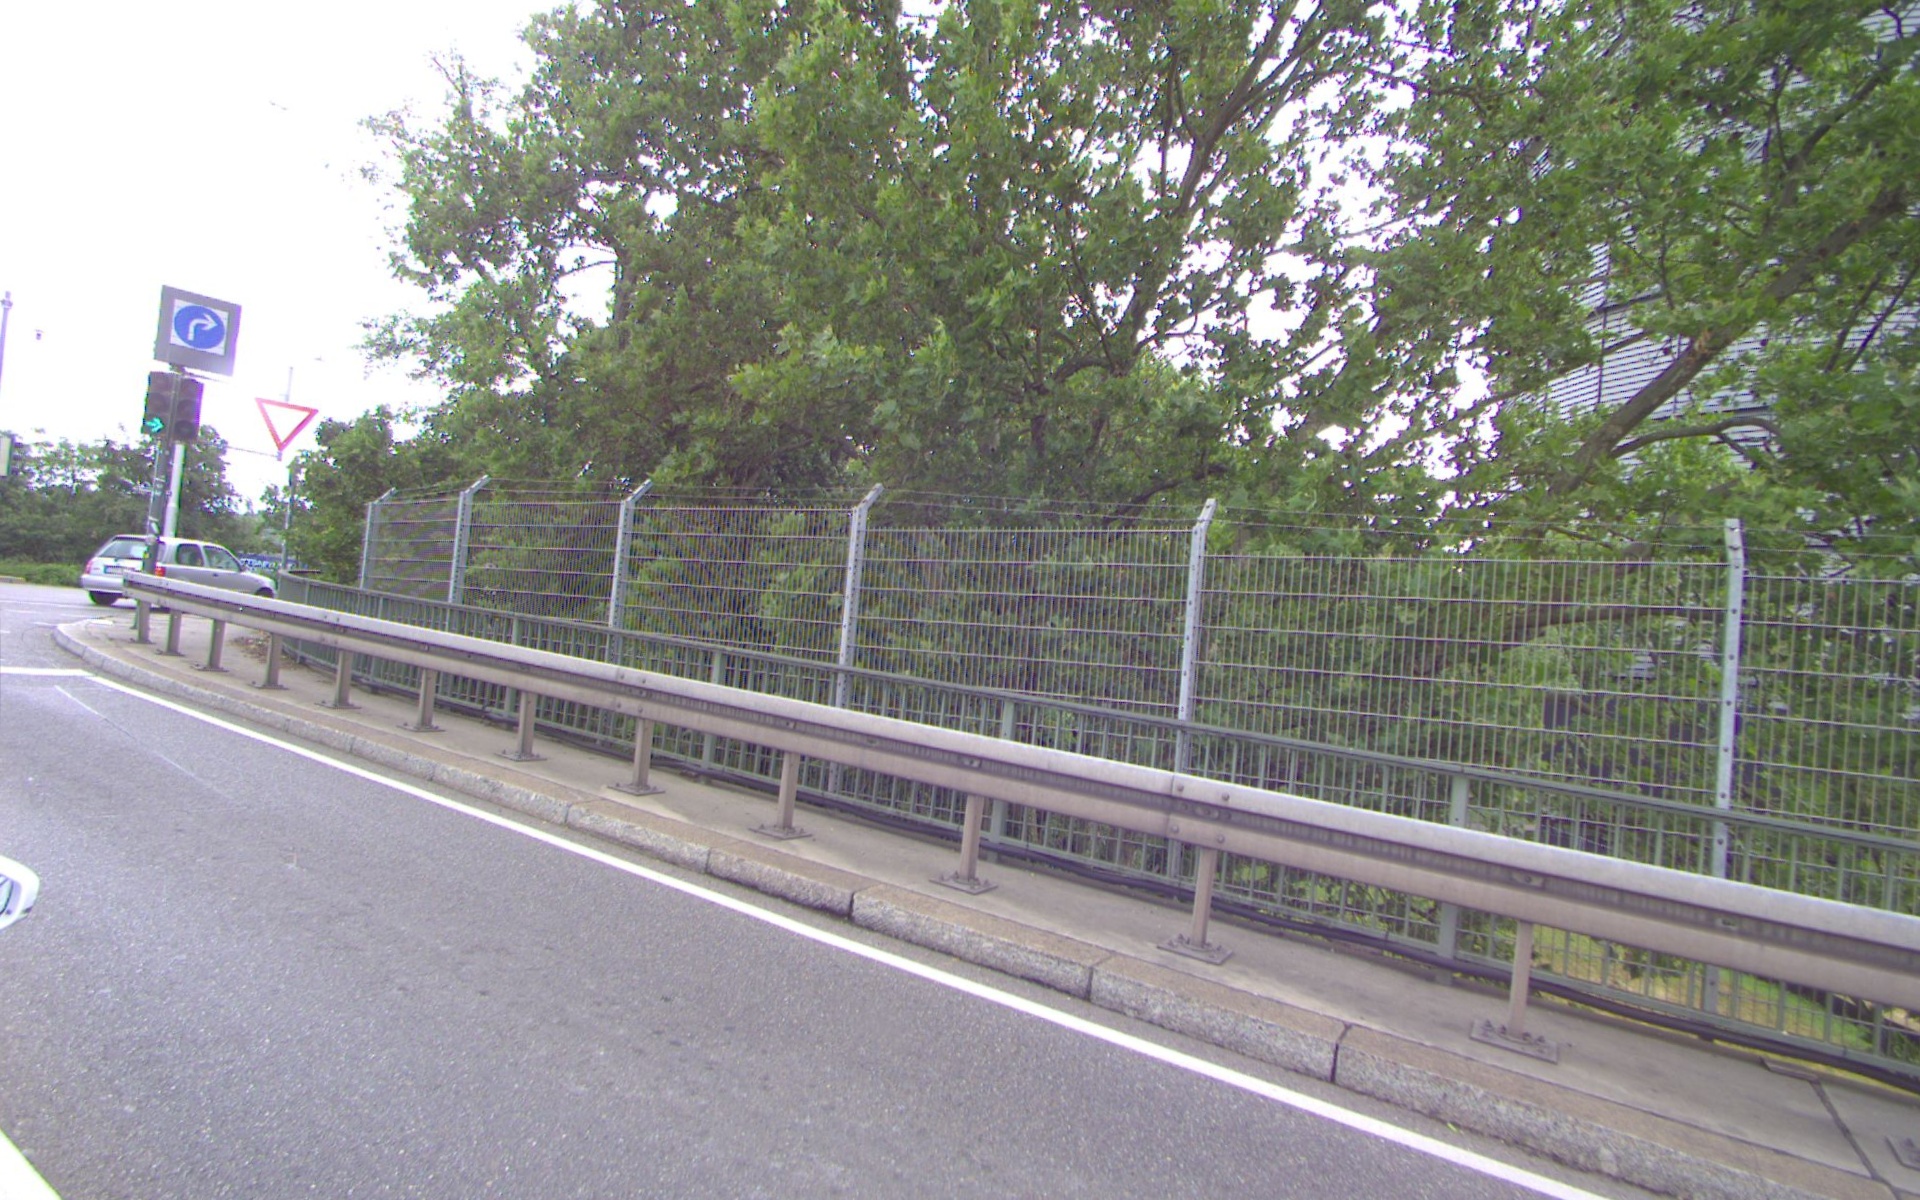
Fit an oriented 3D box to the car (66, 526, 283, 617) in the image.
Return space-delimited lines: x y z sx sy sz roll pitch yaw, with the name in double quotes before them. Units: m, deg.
"car" -15.582 -0.486 20.197 1.561 1.448 3.444 7 -2 -1
